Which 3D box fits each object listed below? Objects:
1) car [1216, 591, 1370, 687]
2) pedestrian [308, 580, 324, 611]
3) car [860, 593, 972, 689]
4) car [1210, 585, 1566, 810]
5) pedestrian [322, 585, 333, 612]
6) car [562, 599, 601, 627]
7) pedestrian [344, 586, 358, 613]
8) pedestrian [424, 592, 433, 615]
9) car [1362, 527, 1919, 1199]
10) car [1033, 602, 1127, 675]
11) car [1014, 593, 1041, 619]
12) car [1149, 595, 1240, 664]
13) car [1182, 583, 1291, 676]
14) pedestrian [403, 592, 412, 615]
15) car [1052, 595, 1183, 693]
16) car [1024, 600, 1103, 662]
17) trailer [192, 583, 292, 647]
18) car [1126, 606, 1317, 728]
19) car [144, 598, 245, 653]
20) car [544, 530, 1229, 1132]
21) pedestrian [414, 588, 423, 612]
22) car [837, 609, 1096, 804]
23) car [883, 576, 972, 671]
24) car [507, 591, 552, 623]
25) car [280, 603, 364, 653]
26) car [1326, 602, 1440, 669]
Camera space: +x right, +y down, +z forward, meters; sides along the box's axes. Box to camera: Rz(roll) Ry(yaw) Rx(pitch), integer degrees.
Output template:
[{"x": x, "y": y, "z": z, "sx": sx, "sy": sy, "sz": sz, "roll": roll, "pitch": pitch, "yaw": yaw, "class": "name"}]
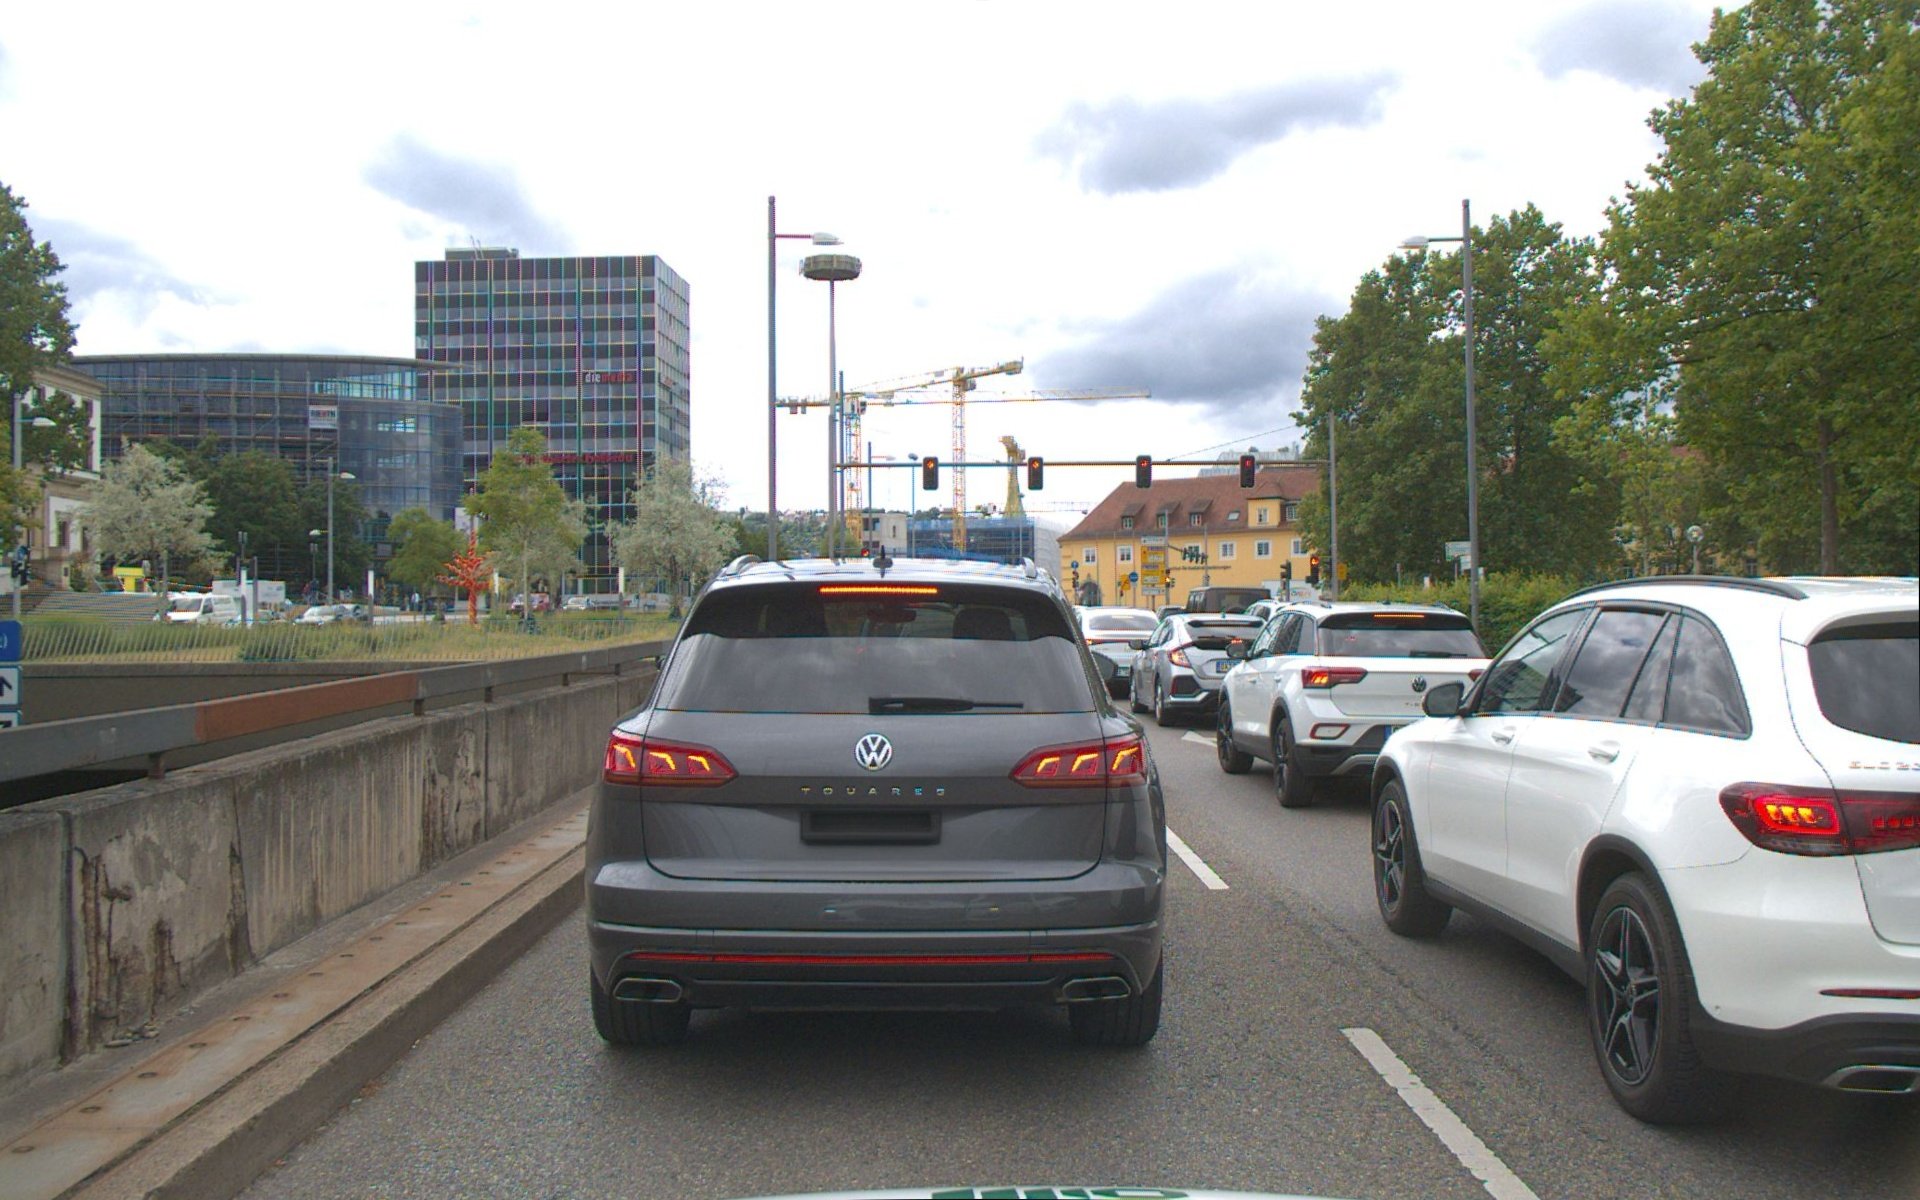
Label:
[{"x": 6.441, "y": 0.705, "z": 32.446, "sx": 1.954, "sy": 1.668, "sz": 4.302, "roll": 0, "pitch": 1, "yaw": -3, "class": "car"}, {"x": -43.002, "y": -0.288, "z": 110.394, "sx": 0.723, "sy": 2.049, "sz": 0.793, "roll": -1, "pitch": -2, "yaw": 0, "class": "pedestrian"}, {"x": -0.803, "y": 0.723, "z": 30.997, "sx": 1.912, "sy": 1.628, "sz": 3.930, "roll": 2, "pitch": 0, "yaw": -1, "class": "car"}, {"x": 3.376, "y": 0.721, "z": 13.982, "sx": 1.887, "sy": 1.578, "sz": 4.489, "roll": 1, "pitch": -1, "yaw": 0, "class": "car"}, {"x": -47.722, "y": -0.115, "z": 124.812, "sx": 0.729, "sy": 2.049, "sz": 0.914, "roll": -1, "pitch": 1, "yaw": -24, "class": "pedestrian"}, {"x": -29.313, "y": 1.009, "z": 128.209, "sx": 1.953, "sy": 2.048, "sz": 4.691, "roll": 0, "pitch": 1, "yaw": -1, "class": "car"}, {"x": -47.058, "y": -0.023, "z": 127.804, "sx": 0.773, "sy": 2.049, "sz": 0.741, "roll": 0, "pitch": 1, "yaw": 9, "class": "pedestrian"}, {"x": -46.852, "y": 0.314, "z": 145.807, "sx": 0.726, "sy": 2.049, "sz": 0.789, "roll": -1, "pitch": 1, "yaw": -16, "class": "pedestrian"}, {"x": 2.989, "y": 0.657, "z": 6.234, "sx": 1.887, "sy": 1.682, "sz": 4.490, "roll": 0, "pitch": 0, "yaw": 0, "class": "car"}, {"x": 2.682, "y": 0.850, "z": 37.765, "sx": 1.887, "sy": 1.556, "sz": 4.047, "roll": 1, "pitch": -1, "yaw": 0, "class": "car"}, {"x": 4.520, "y": 0.431, "z": 111.458, "sx": 1.586, "sy": 1.656, "sz": 3.999, "roll": 2, "pitch": -1, "yaw": 0, "class": "car"}, {"x": 6.300, "y": 0.796, "z": 44.769, "sx": 1.871, "sy": 1.727, "sz": 4.011, "roll": 2, "pitch": -1, "yaw": 0, "class": "car"}, {"x": 6.480, "y": 0.683, "z": 39.193, "sx": 1.871, "sy": 2.049, "sz": 4.011, "roll": 2, "pitch": -1, "yaw": 0, "class": "car"}, {"x": -48.246, "y": 0.295, "z": 144.412, "sx": 0.728, "sy": 2.049, "sz": 0.787, "roll": -1, "pitch": 1, "yaw": -23, "class": "pedestrian"}, {"x": 2.667, "y": 0.736, "z": 28.946, "sx": 1.887, "sy": 1.556, "sz": 4.489, "roll": 1, "pitch": -1, "yaw": 0, "class": "car"}, {"x": 2.704, "y": 0.817, "z": 44.054, "sx": 1.887, "sy": 1.556, "sz": 4.047, "roll": 1, "pitch": -1, "yaw": 0, "class": "car"}, {"x": -31.617, "y": 0.616, "z": 73.055, "sx": 1.996, "sy": 2.650, "sz": 5.507, "roll": 2, "pitch": 1, "yaw": -1, "class": "trailer"}, {"x": 3.383, "y": 0.837, "z": 22.231, "sx": 1.887, "sy": 1.457, "sz": 4.489, "roll": 1, "pitch": -1, "yaw": 0, "class": "car"}, {"x": -31.374, "y": 1.009, "z": 67.939, "sx": 1.953, "sy": 2.048, "sz": 4.692, "roll": 0, "pitch": 1, "yaw": 0, "class": "car"}, {"x": -0.234, "y": 0.653, "z": 6.641, "sx": 1.912, "sy": 1.680, "sz": 3.999, "roll": 0, "pitch": 0, "yaw": -1, "class": "car"}, {"x": -47.688, "y": 0.002, "z": 145.605, "sx": 0.726, "sy": 2.049, "sz": 0.789, "roll": -1, "pitch": 1, "yaw": -16, "class": "pedestrian"}, {"x": 0.017, "y": 0.811, "z": 14.380, "sx": 1.912, "sy": 1.408, "sz": 3.930, "roll": 2, "pitch": 0, "yaw": -1, "class": "car"}, {"x": -0.758, "y": 0.531, "z": 38.533, "sx": 1.912, "sy": 2.053, "sz": 3.930, "roll": 2, "pitch": 0, "yaw": -1, "class": "car"}, {"x": -29.190, "y": 0.453, "z": 112.215, "sx": 1.953, "sy": 2.048, "sz": 4.691, "roll": 0, "pitch": 1, "yaw": -2, "class": "car"}, {"x": -28.588, "y": 1.234, "z": 74.279, "sx": 1.953, "sy": 2.048, "sz": 4.692, "roll": 0, "pitch": 1, "yaw": 0, "class": "car"}, {"x": 10.213, "y": 0.864, "z": 40.243, "sx": 1.891, "sy": 1.485, "sz": 4.529, "roll": 1, "pitch": -1, "yaw": 4, "class": "car"}]
